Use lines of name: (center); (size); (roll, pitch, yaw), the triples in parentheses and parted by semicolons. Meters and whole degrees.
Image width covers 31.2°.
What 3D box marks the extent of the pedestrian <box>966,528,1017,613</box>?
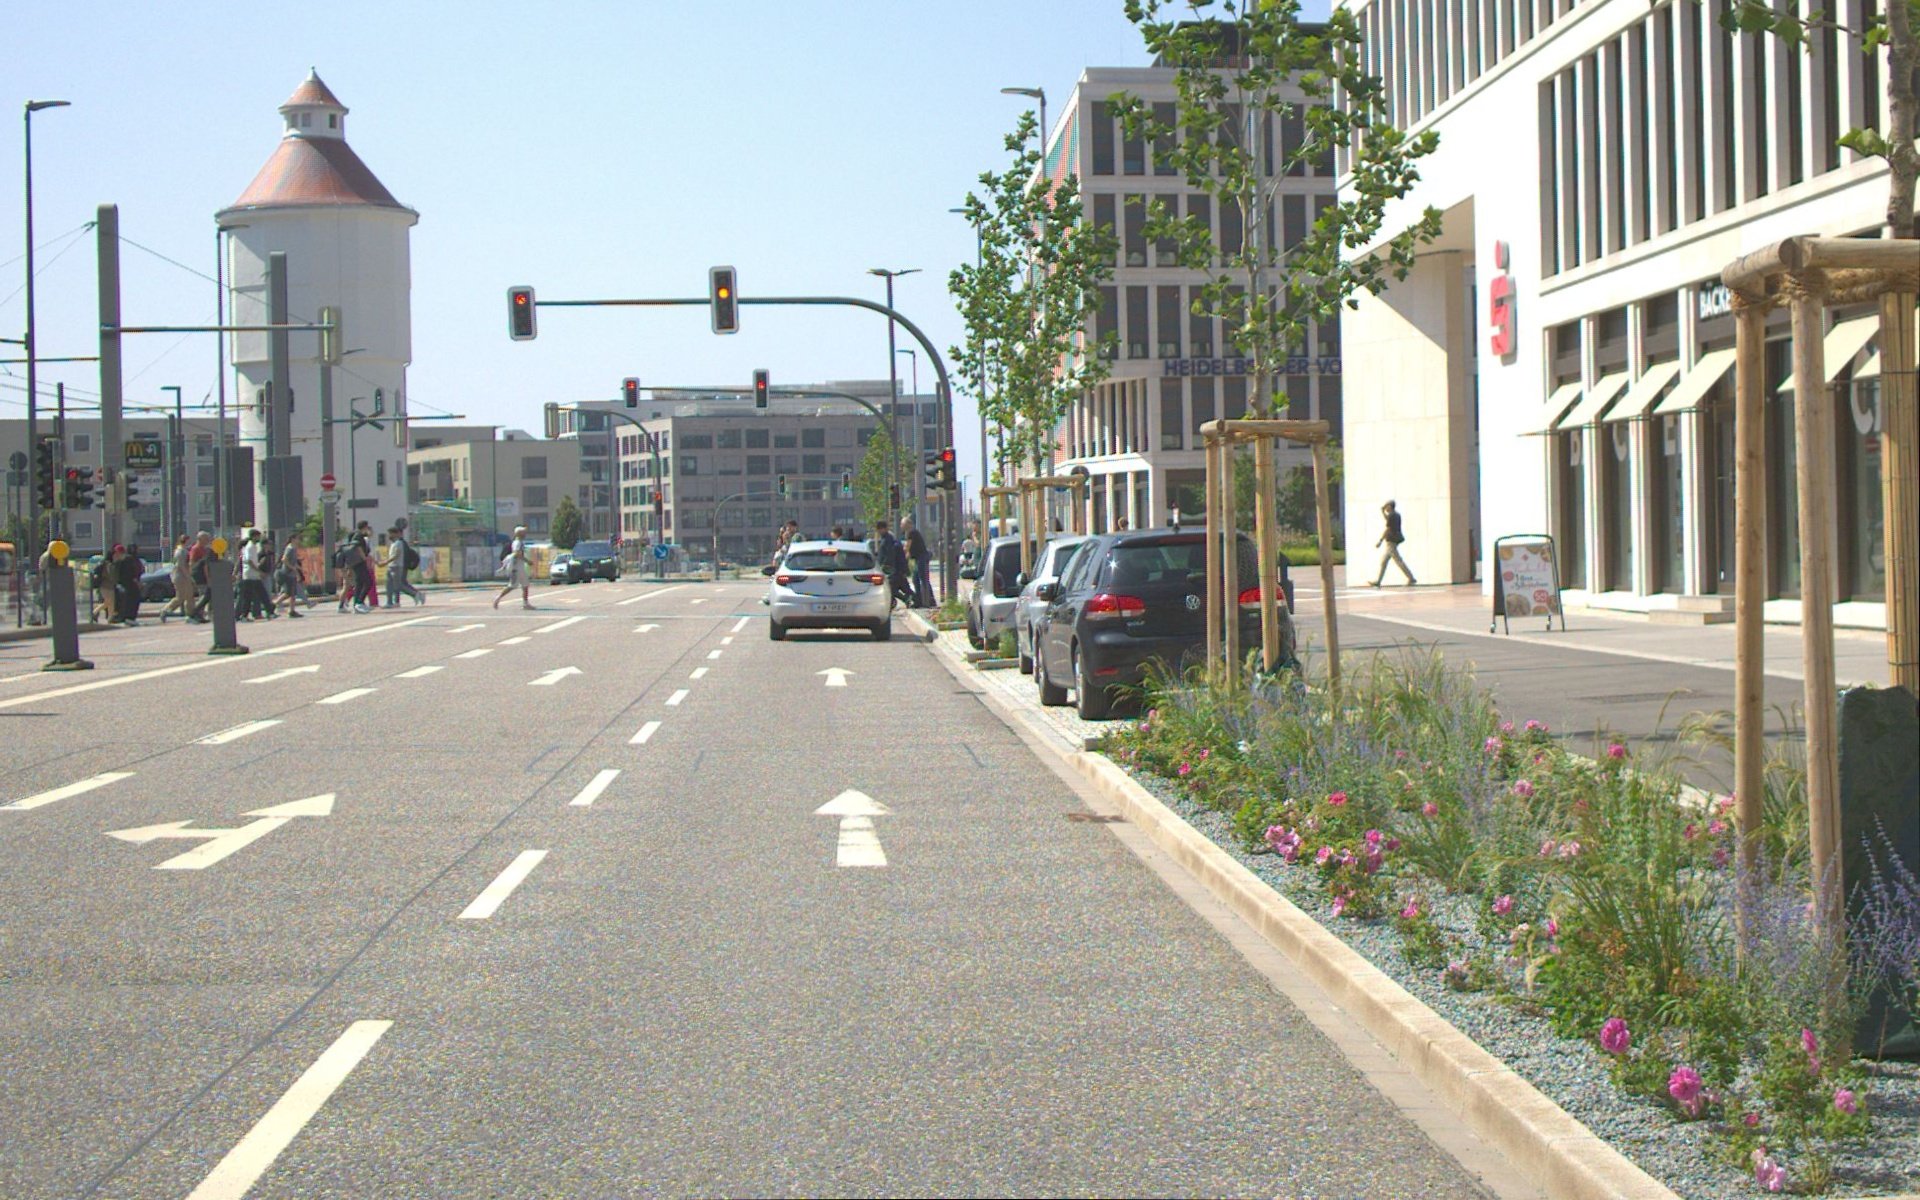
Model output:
pedestrian: (0.605, -0.574, 67.120); (0.887, 1.629, 0.692); (-1, 1, -7)

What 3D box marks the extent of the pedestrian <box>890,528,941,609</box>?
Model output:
pedestrian: (-0.916, -0.648, 70.730); (0.887, 1.641, 0.796); (-1, 1, -12)

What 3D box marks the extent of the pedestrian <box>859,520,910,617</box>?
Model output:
pedestrian: (-1.487, -0.617, 67.765); (0.887, 1.884, 0.796); (-1, 1, -7)

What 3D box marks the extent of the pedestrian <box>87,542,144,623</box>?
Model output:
pedestrian: (-17.368, -0.358, 70.685); (0.910, 1.631, 0.814); (-1, 1, 3)

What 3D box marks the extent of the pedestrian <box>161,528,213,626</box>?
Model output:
pedestrian: (-15.164, -0.455, 67.427); (0.887, 1.884, 0.692); (-1, 1, -7)

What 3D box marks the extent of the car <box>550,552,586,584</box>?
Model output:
car: (-18.804, -1.525, 165.158); (1.586, 1.525, 3.258); (0, 0, -4)

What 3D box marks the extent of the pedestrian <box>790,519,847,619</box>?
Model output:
pedestrian: (-2.720, -0.592, 66.056); (1.013, 1.884, 0.798); (-1, 1, -5)

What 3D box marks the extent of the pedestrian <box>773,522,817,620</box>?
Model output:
pedestrian: (-3.220, -0.574, 67.011); (0.730, 1.884, 0.821); (-1, 1, 4)

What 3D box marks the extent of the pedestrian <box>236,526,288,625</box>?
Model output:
pedestrian: (-13.442, -0.471, 66.187); (0.887, 1.884, 0.692); (-1, 1, -7)

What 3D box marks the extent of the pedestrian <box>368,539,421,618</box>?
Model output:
pedestrian: (-12.122, -0.471, 73.683); (0.893, 1.668, 1.013); (-1, 1, -20)

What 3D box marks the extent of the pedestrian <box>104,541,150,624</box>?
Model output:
pedestrian: (-16.229, -0.347, 66.992); (0.633, 1.612, 0.768); (-1, 1, 4)

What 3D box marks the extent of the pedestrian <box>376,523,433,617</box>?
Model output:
pedestrian: (-12.076, -0.652, 74.744); (1.020, 2.007, 0.954); (-1, 1, -20)

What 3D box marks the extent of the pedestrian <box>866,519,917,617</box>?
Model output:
pedestrian: (-1.335, -0.620, 66.927); (0.887, 1.884, 0.796); (-1, 1, -7)

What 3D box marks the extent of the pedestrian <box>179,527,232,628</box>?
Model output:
pedestrian: (-14.352, -0.434, 65.376); (0.887, 1.884, 0.692); (-1, 1, -7)

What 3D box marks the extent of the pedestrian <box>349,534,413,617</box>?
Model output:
pedestrian: (-12.839, -0.550, 76.277); (1.181, 1.814, 1.068); (-1, 1, 2)

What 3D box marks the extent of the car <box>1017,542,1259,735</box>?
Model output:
car: (1.399, 0.283, 28.363); (1.736, 1.469, 3.980); (0, 0, -1)

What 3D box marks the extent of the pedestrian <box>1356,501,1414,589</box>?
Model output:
pedestrian: (8.097, -1.050, 65.468); (0.990, 1.649, 0.692); (-1, 1, 0)

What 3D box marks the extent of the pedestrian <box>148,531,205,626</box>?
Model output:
pedestrian: (-15.739, -0.442, 69.070); (0.888, 1.884, 0.796); (-1, 1, 3)

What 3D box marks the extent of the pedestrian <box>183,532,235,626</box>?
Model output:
pedestrian: (-15.272, -0.431, 69.926); (0.887, 1.884, 0.796); (-1, 1, -2)

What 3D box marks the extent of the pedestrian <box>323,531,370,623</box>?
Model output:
pedestrian: (-12.706, -0.483, 71.209); (0.841, 1.884, 0.692); (-1, 1, -1)

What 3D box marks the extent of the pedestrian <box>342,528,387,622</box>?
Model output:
pedestrian: (-12.171, -0.515, 70.289); (0.766, 1.884, 0.692); (-1, 1, -1)

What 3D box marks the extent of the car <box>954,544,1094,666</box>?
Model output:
car: (0.776, 0.035, 43.774); (1.556, 1.467, 3.470); (-1, 1, -2)

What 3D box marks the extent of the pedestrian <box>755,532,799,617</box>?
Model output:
pedestrian: (-3.609, -0.509, 67.961); (0.794, 1.641, 0.891); (-1, 1, 0)

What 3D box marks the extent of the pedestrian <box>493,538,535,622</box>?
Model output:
pedestrian: (-9.275, -0.427, 71.463); (0.766, 1.728, 0.692); (-1, 1, -1)

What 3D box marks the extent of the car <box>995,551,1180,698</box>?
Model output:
car: (1.280, 0.215, 35.860); (1.605, 1.383, 3.815); (-2, 1, -2)

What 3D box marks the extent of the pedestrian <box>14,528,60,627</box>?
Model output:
pedestrian: (-17.763, -0.439, 66.187); (0.636, 1.884, 0.796); (-1, 1, -1)

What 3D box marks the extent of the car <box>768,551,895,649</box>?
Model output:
car: (-1.878, 0.011, 51.185); (1.771, 1.390, 3.532); (1, 0, 0)

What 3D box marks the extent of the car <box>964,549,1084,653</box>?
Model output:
car: (0.868, -0.016, 48.516); (1.429, 1.385, 4.000); (-1, 1, -2)

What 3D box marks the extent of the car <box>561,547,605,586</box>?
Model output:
car: (-15.324, -1.352, 139.814); (1.586, 1.525, 3.693); (0, 0, -3)

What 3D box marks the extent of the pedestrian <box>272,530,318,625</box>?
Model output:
pedestrian: (-13.412, -0.459, 69.301); (0.766, 1.884, 0.692); (-1, 1, -1)

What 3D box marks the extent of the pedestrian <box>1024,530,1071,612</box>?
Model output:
pedestrian: (1.742, -0.578, 68.059); (0.767, 1.614, 0.691); (-1, 1, 15)

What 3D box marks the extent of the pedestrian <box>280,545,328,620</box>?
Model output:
pedestrian: (-14.659, -0.401, 76.838); (0.888, 1.641, 0.796); (-1, 1, 2)

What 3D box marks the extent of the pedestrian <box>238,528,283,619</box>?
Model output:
pedestrian: (-14.574, -0.552, 71.637); (0.734, 1.884, 0.713); (1, 0, 3)

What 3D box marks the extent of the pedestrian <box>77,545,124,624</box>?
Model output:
pedestrian: (-17.173, -0.315, 68.735); (0.728, 1.570, 0.641); (-1, 1, 3)
